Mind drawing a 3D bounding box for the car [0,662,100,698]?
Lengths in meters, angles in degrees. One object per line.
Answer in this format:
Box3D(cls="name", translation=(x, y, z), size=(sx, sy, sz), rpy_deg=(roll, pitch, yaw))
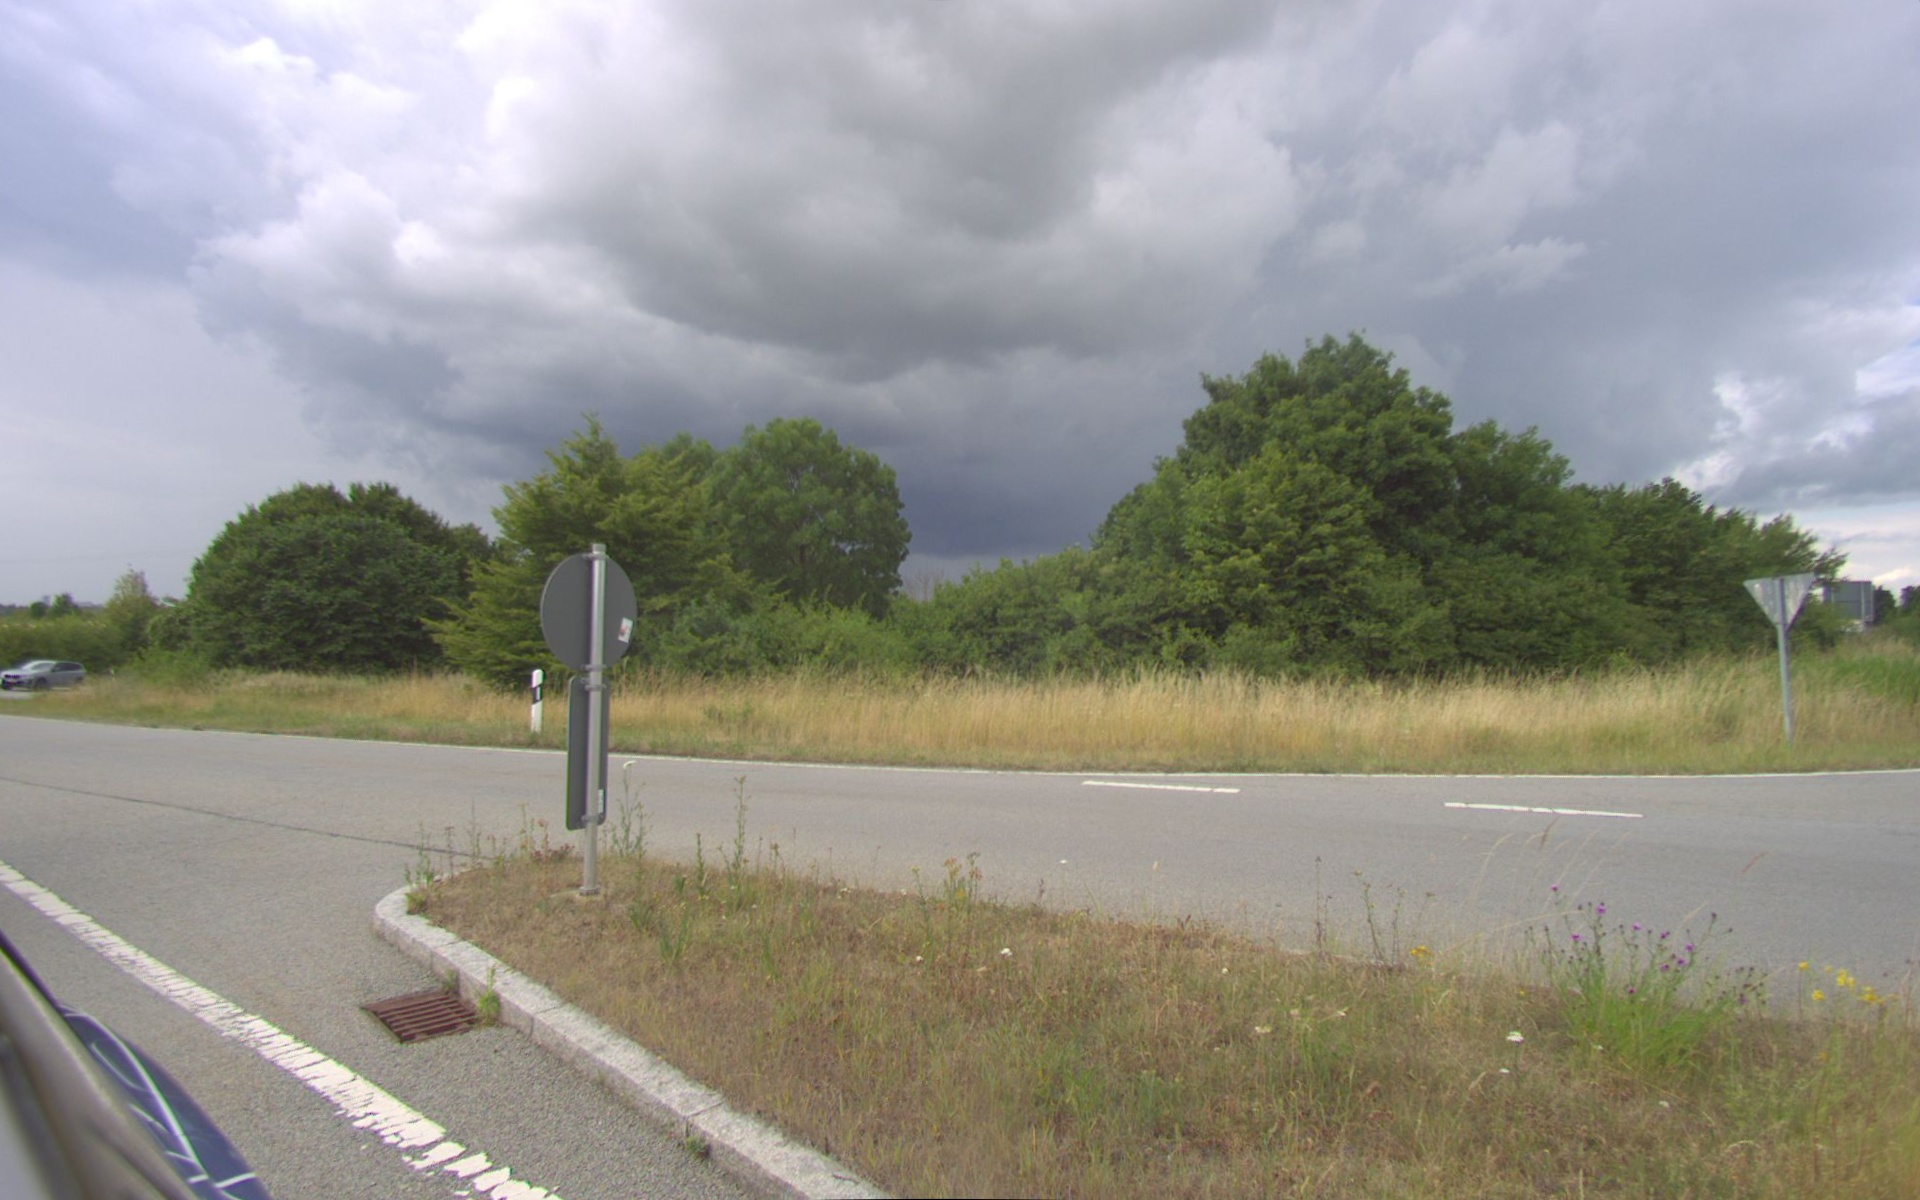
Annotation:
Box3D(cls="car", translation=(-51.171, 4.415, 56.534), size=(1.970, 1.733, 5.213), rpy_deg=(2, -3, -4))
